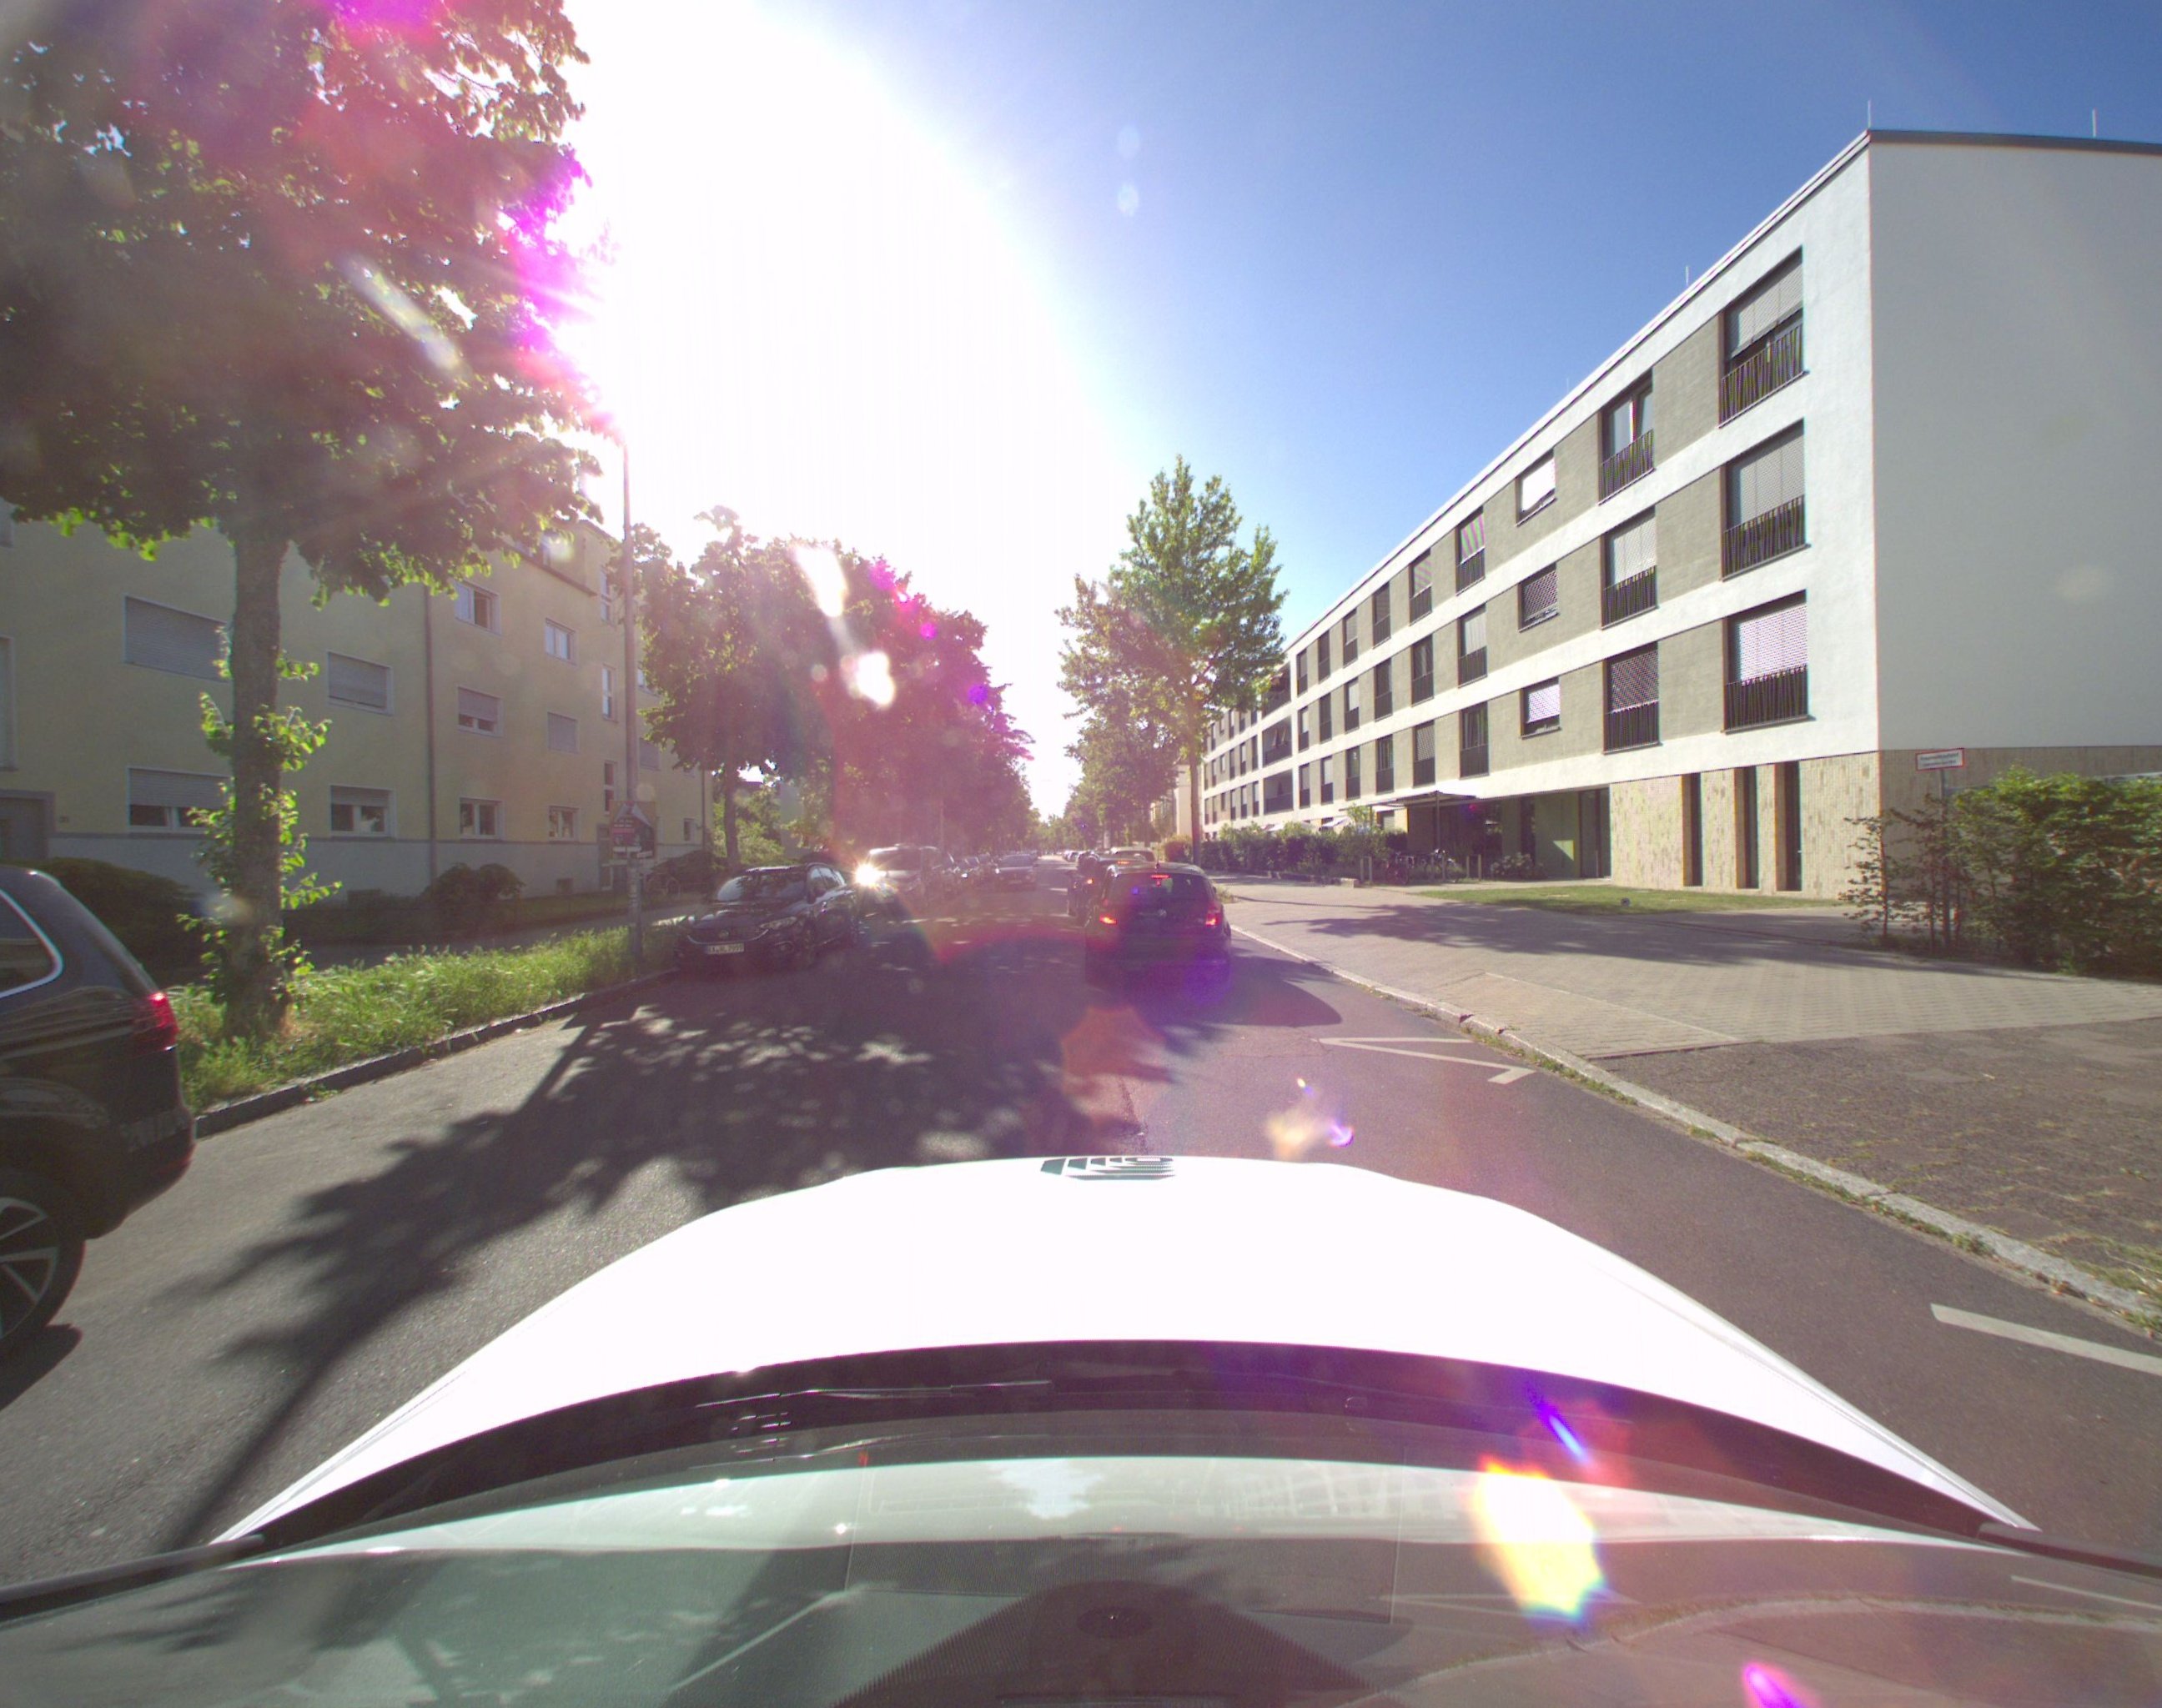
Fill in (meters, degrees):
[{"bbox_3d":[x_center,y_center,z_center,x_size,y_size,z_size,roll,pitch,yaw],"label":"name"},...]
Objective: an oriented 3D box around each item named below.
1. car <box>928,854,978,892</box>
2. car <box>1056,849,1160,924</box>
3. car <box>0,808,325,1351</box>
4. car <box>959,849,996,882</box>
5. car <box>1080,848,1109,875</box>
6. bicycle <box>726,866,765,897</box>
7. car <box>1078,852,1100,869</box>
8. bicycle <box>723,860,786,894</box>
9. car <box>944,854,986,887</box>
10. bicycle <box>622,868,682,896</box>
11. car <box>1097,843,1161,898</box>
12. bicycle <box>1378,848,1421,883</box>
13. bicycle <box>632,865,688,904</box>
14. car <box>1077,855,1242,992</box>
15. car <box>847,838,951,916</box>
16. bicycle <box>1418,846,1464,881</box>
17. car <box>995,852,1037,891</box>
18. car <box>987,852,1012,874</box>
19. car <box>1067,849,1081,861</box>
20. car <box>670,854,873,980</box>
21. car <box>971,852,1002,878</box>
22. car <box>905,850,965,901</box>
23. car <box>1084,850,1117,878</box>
[{"bbox_3d":[-5.351,0.772,34.451,1.608,1.427,4.054,-3,0,-3],"label":"car"},{"bbox_3d":[0.485,0.624,18.123,1.648,1.425,3.990,-2,0,-8],"label":"car"},{"bbox_3d":[-4.251,0.767,1.090,1.845,1.680,4.972,-4,1,-2],"label":"car"},{"bbox_3d":[-5.676,0.588,44.974,1.608,1.679,4.230,-3,0,-3],"label":"car"},{"bbox_3d":[0.860,0.468,53.025,1.716,1.641,3.849,1,0,-1],"label":"car"},{"bbox_3d":[-11.900,0.960,28.914,0.593,0.991,1.927,-2,0,-2],"label":"bicycle"},{"bbox_3d":[0.674,0.505,68.138,1.716,1.379,3.849,1,0,-1],"label":"car"},{"bbox_3d":[-12.723,0.887,31.748,2.147,1.208,0.687,-2,0,-13],"label":"bicycle"},{"bbox_3d":[-5.575,0.773,39.536,1.608,1.427,3.722,-3,0,-3],"label":"car"},{"bbox_3d":[-16.428,1.062,31.225,1.921,0.991,0.595,-2,0,-10],"label":"bicycle"},{"bbox_3d":[1.505,0.513,26.911,1.842,1.631,4.409,-1,0,0],"label":"car"},{"bbox_3d":[10.112,0.347,25.892,0.545,1.055,1.689,-2,0,-5],"label":"bicycle"},{"bbox_3d":[-11.845,0.827,22.955,0.593,0.991,1.927,-2,0,-2],"label":"bicycle"},{"bbox_3d":[0.853,0.760,10.608,1.645,1.397,3.408,-2,0,-2],"label":"car"},{"bbox_3d":[-5.049,0.570,23.307,1.821,1.904,5.139,-3,0,-1],"label":"car"},{"bbox_3d":[11.469,0.306,25.996,0.545,1.055,1.777,-2,0,-5],"label":"bicycle"},{"bbox_3d":[-2.585,0.671,32.843,1.501,1.426,3.175,-2,0,-2],"label":"car"},{"bbox_3d":[-6.192,0.656,62.180,1.608,1.543,3.862,-3,0,-3],"label":"car"},{"bbox_3d":[-0.887,0.172,108.159,1.715,1.480,3.852,-2,0,1],"label":"car"},{"bbox_3d":[-4.643,0.820,13.032,1.504,1.548,4.774,-4,0,-2],"label":"car"},{"bbox_3d":[-5.852,0.646,50.670,1.608,1.452,3.862,-3,0,-3],"label":"car"},{"bbox_3d":[-5.152,0.695,29.150,1.609,1.611,4.223,-3,0,-4],"label":"car"},{"bbox_3d":[1.083,0.547,47.026,1.716,1.528,3.998,1,0,-1],"label":"car"}]
